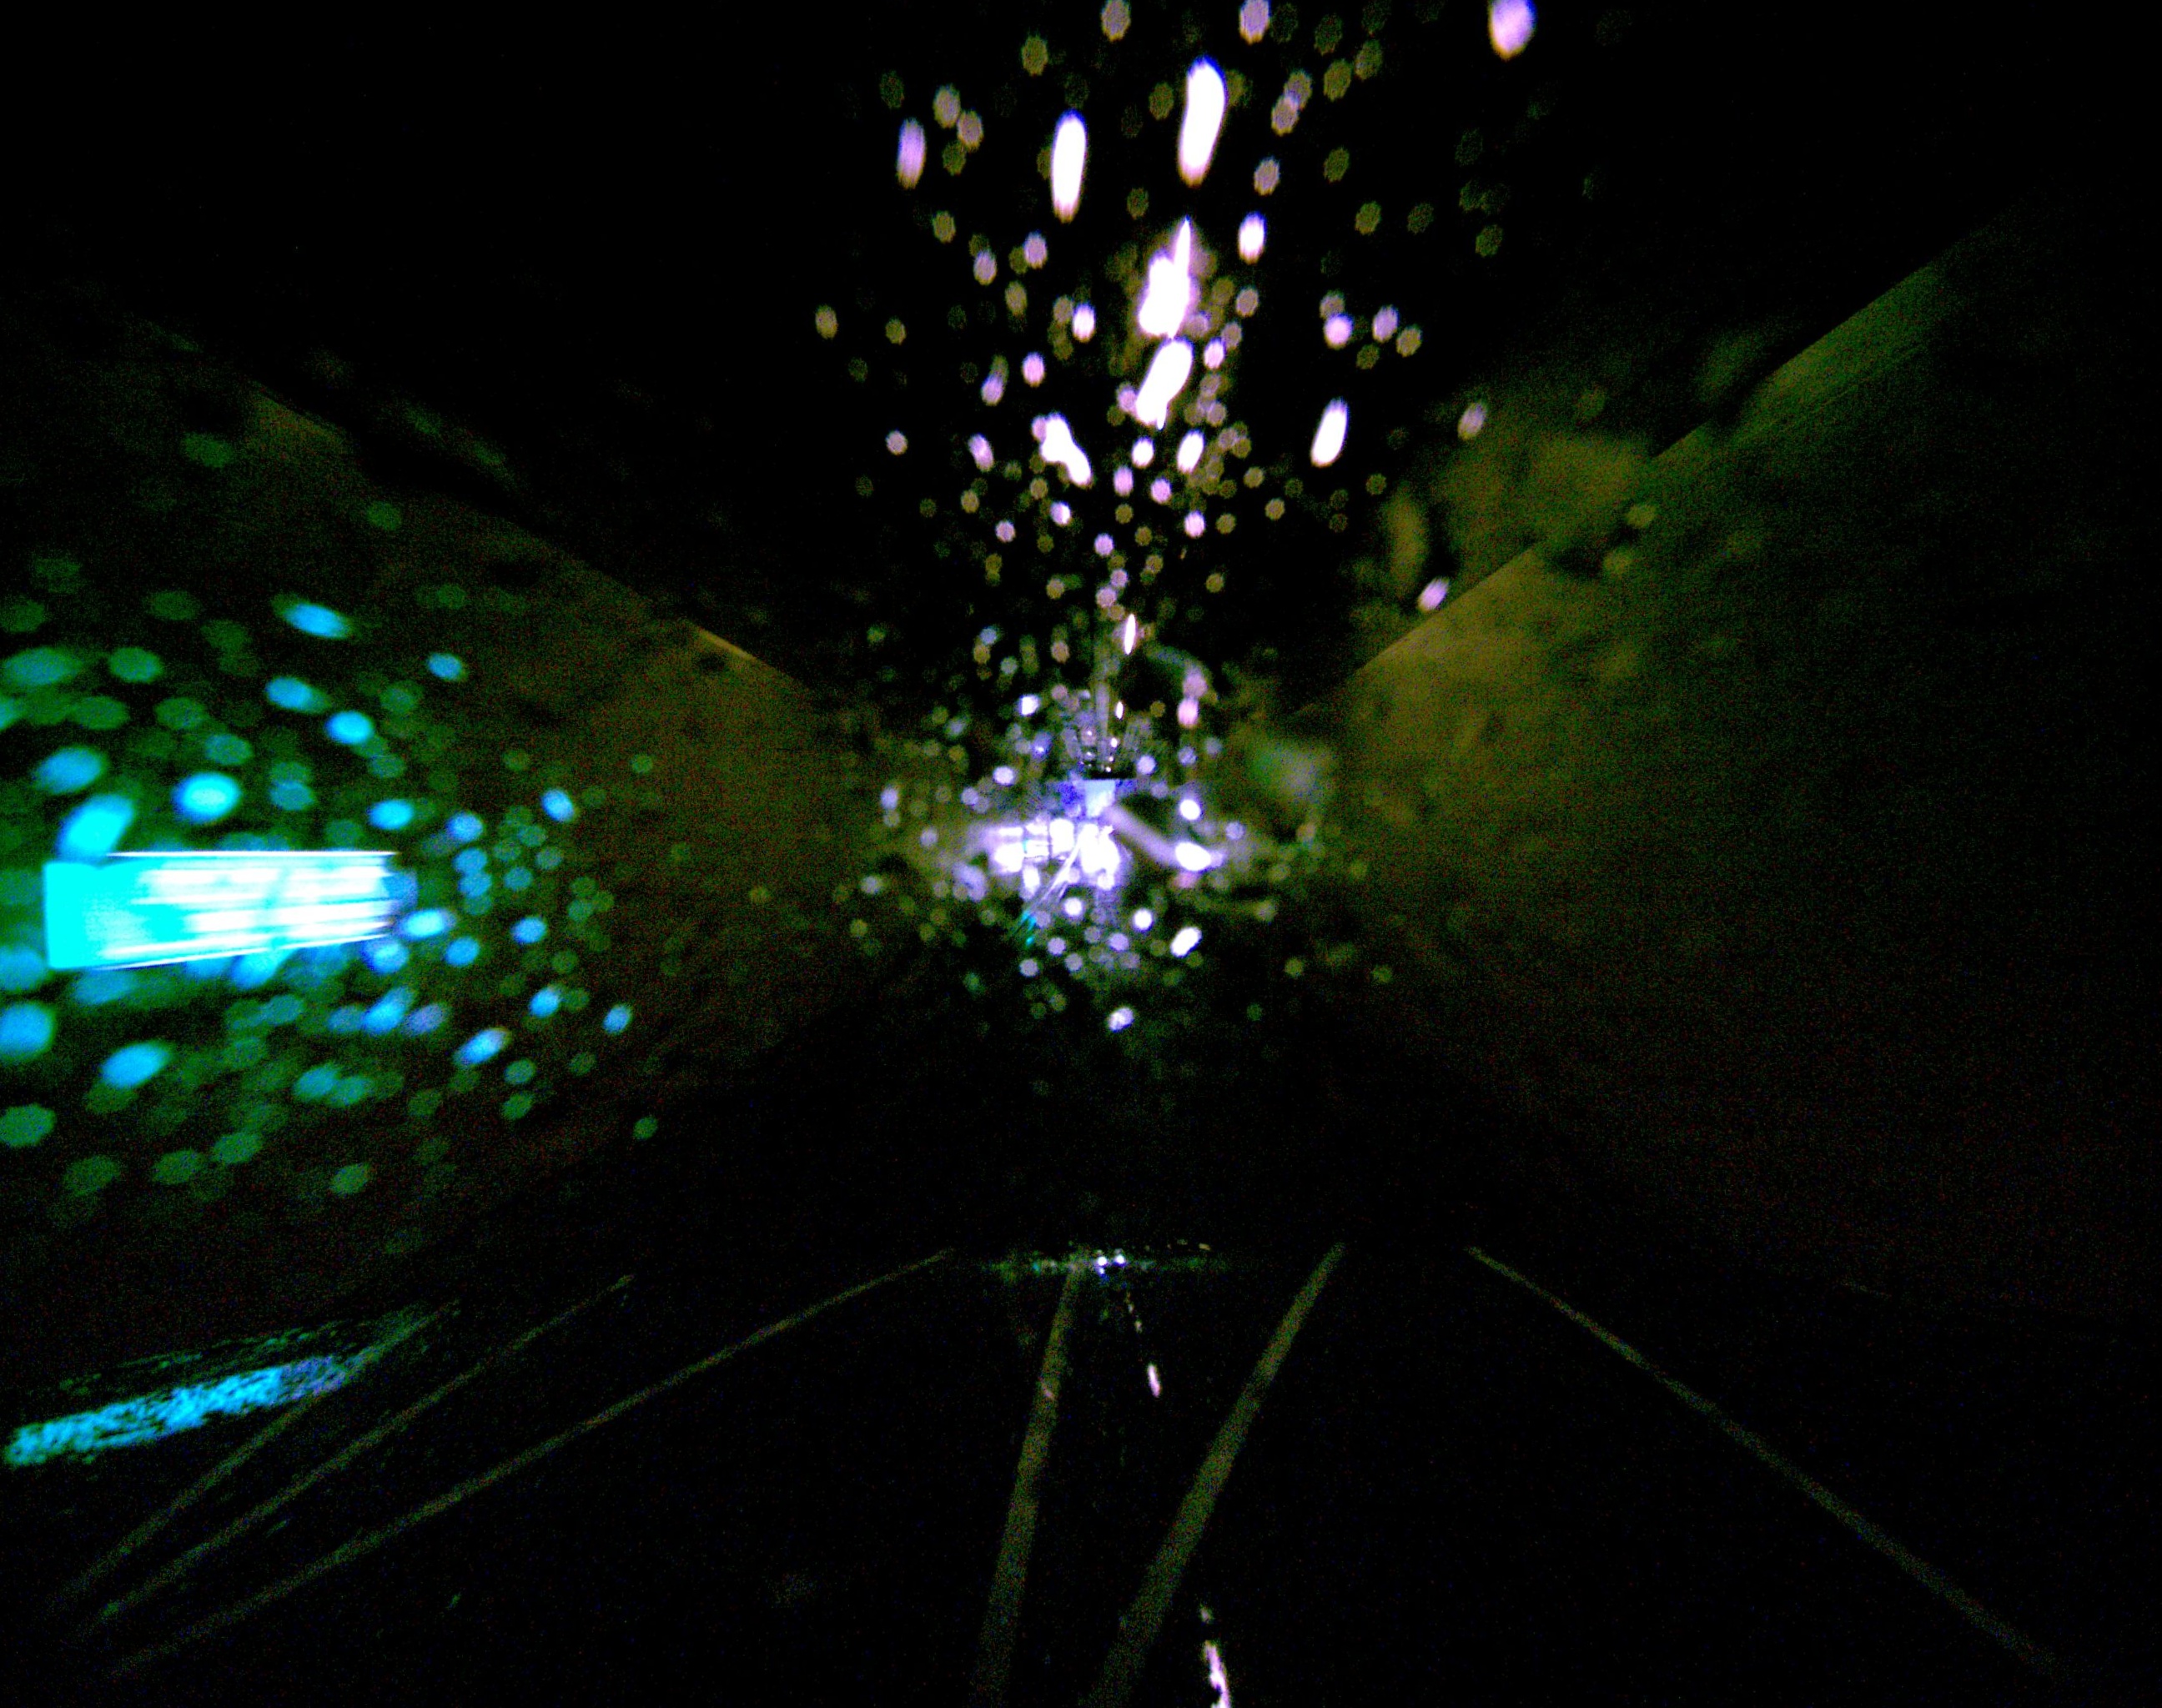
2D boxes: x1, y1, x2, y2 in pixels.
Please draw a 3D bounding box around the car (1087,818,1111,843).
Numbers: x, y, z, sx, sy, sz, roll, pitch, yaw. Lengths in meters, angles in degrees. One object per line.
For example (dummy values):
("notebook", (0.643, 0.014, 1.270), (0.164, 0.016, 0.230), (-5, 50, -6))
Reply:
("car", (1.588, -2.001, 66.401), (2.030, 2.017, 4.425), (-2, 0, 2))
